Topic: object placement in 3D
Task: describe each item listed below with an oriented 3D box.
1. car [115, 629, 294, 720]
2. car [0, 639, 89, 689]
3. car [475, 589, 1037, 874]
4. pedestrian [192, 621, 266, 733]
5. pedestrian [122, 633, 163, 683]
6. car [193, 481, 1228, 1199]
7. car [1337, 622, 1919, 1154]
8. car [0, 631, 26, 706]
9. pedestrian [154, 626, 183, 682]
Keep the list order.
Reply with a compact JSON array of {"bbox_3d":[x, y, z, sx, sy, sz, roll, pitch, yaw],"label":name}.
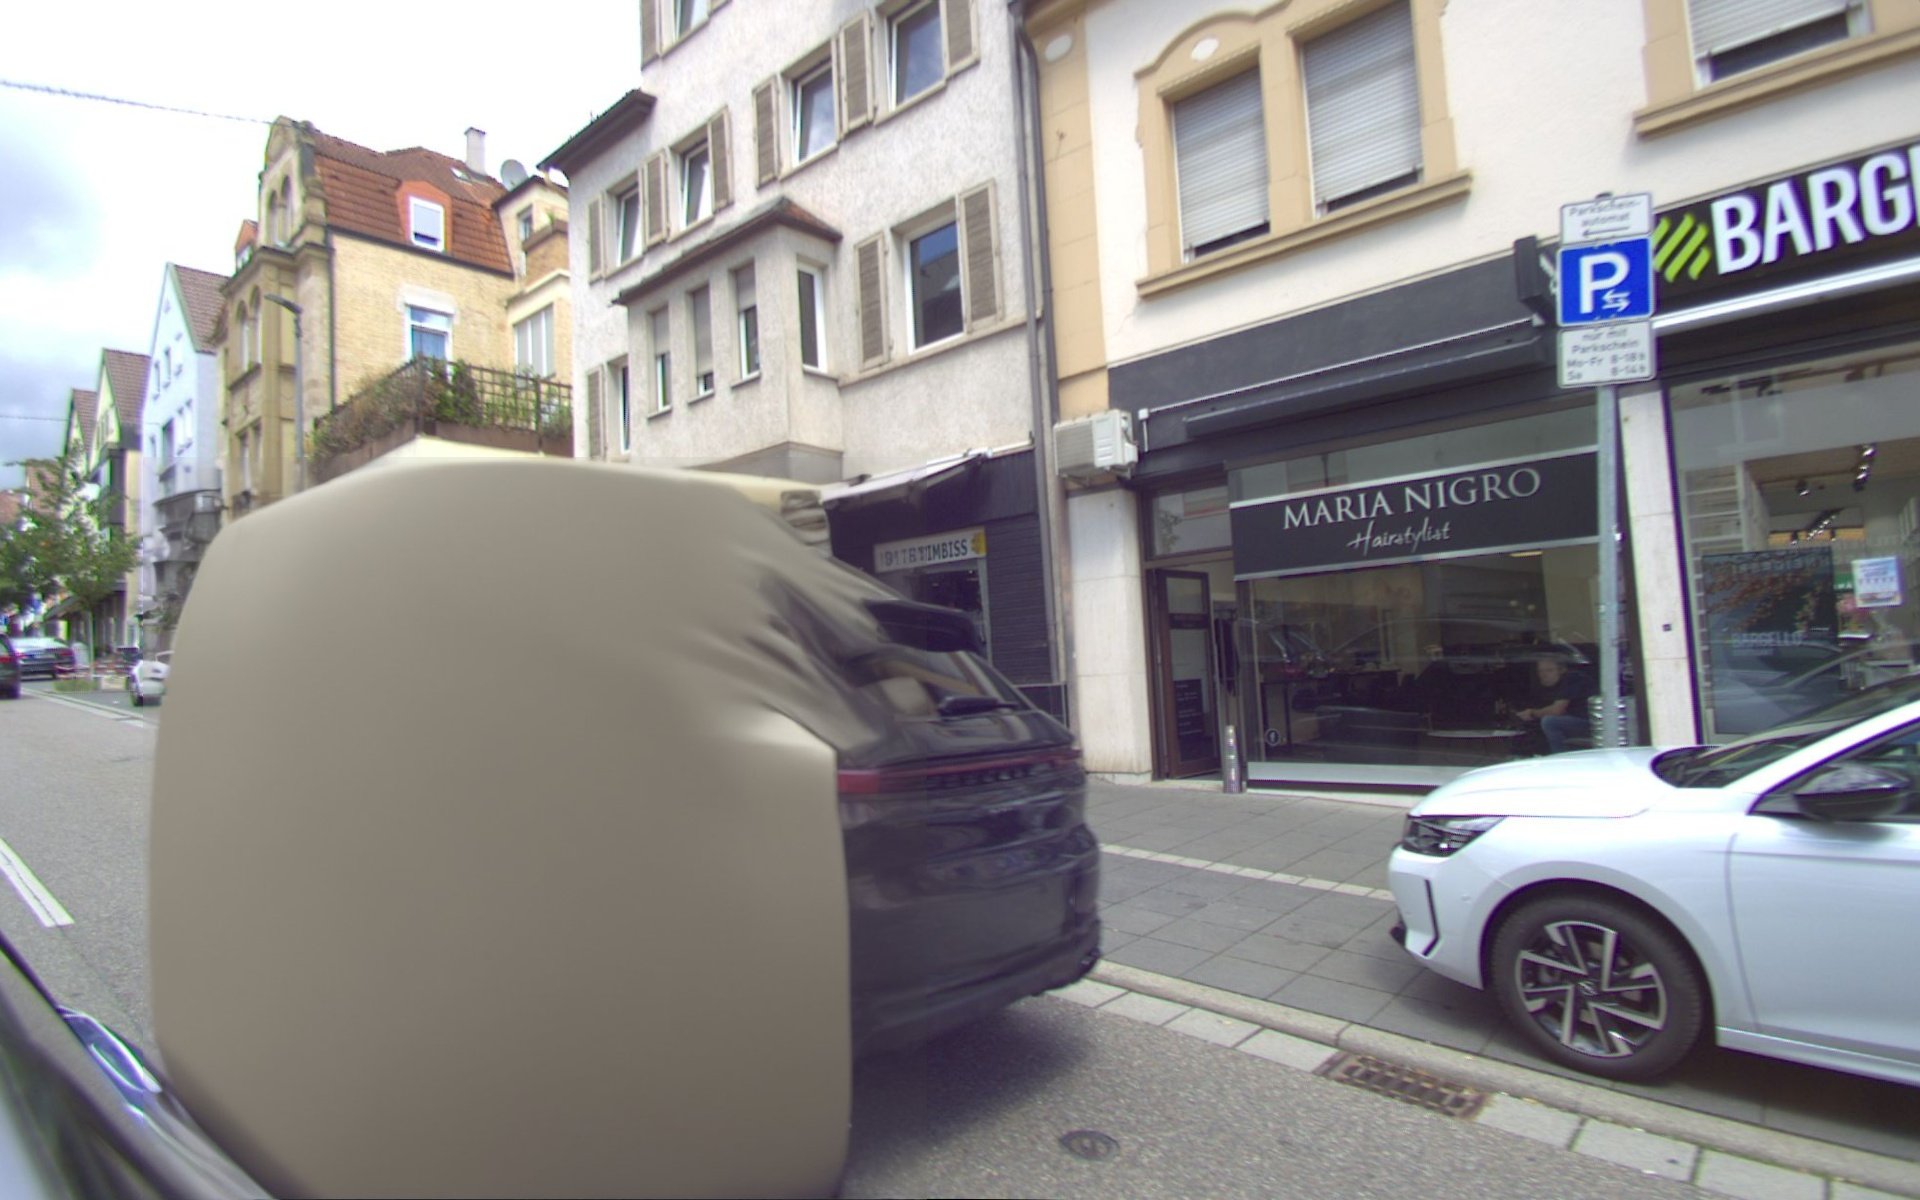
[{"bbox_3d":[-14.938,1.424,19.929,4.258,1.523,1.907,-3,-1,40],"label":"car"},{"bbox_3d":[-31.466,2.166,34.509,4.838,1.504,1.907,-3,-1,40],"label":"car"},{"bbox_3d":[-1.835,0.807,8.048,4.636,1.633,1.907,-2,-1,40],"label":"car"},{"bbox_3d":[-11.485,1.183,15.895,0.862,1.685,0.730,-3,-3,38],"label":"pedestrian"},{"bbox_3d":[-24.926,1.760,30.864,0.809,1.474,0.817,-3,-1,40],"label":"pedestrian"},{"bbox_3d":[-1.390,0.727,4.207,4.445,1.731,1.971,-2,-4,41],"label":"car"},{"bbox_3d":[3.677,0.797,3.167,4.261,1.441,1.906,-3,-2,42],"label":"car"},{"bbox_3d":[-22.786,1.509,22.985,4.133,1.630,1.800,-2,-4,41],"label":"car"},{"bbox_3d":[-24.890,1.683,31.822,0.710,1.726,0.581,-3,-1,41],"label":"pedestrian"}]
